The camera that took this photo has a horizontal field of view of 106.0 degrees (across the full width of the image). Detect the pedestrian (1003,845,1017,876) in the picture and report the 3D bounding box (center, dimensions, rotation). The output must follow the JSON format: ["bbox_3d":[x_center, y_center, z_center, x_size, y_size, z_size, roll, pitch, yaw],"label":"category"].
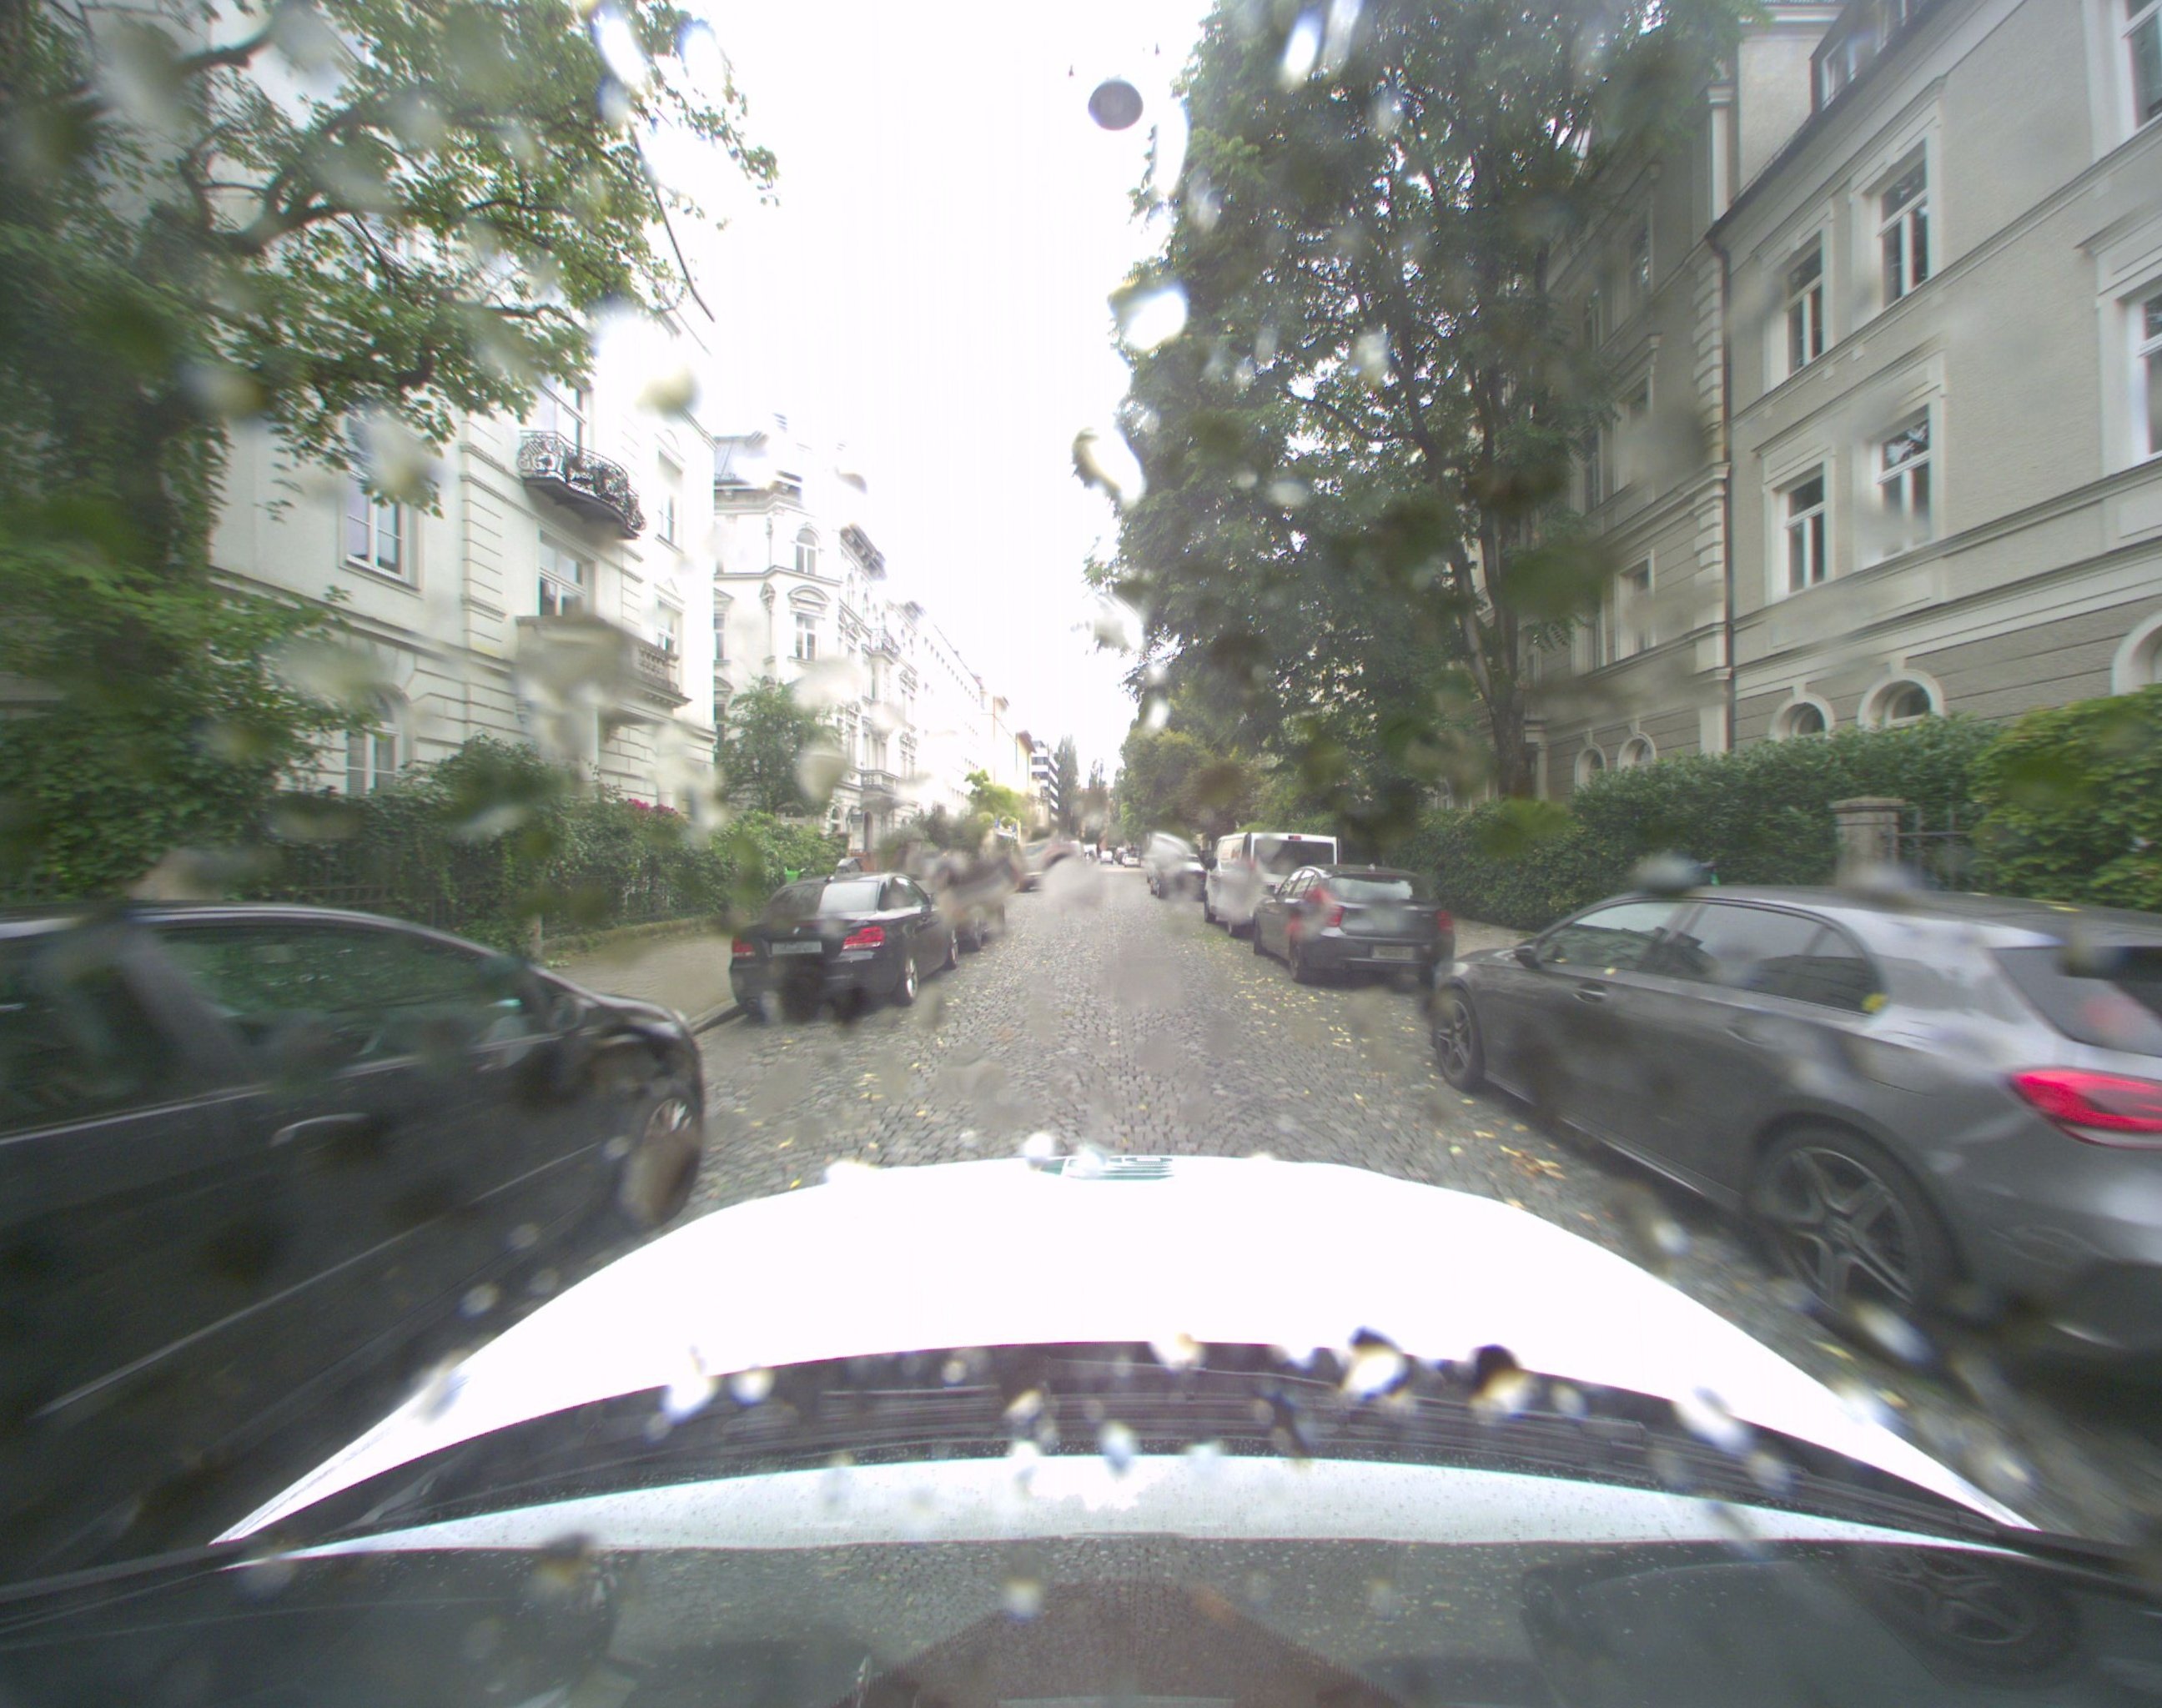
[{"bbox_3d":[-4.453,0.381,51.045,0.789,1.917,0.759,0,0,1],"label":"pedestrian"}]

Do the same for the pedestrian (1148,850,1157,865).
[{"bbox_3d":[9.437,0.452,107.660,0.857,2.013,0.986,-1,0,-16],"label":"pedestrian"}]

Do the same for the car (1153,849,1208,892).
[{"bbox_3d":[4.080,0.643,34.013,1.811,1.580,4.209,2,0,1],"label":"car"}]

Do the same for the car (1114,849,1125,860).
[{"bbox_3d":[7.329,0.163,154.253,1.986,2.013,4.002,0,0,2],"label":"car"}]

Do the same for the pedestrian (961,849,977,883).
[{"bbox_3d":[-5.663,0.613,41.229,0.690,1.687,0.720,-1,0,1],"label":"pedestrian"}]

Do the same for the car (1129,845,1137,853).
[{"bbox_3d":[13.882,-1.238,217.671,1.986,2.014,4.002,-1,0,2],"label":"car"}]

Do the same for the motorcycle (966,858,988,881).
[{"bbox_3d":[-5.697,0.851,44.750,0.619,1.196,1.870,0,0,11],"label":"motorcycle"}]

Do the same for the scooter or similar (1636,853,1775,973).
[{"bbox_3d":[7.042,0.622,9.242,0.414,1.234,1.242,-4,0,-10],"label":"scooter or similar"}]

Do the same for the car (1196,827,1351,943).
[{"bbox_3d":[3.662,0.526,16.541,1.867,1.928,5.163,2,0,0],"label":"car"}]

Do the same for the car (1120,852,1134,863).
[{"bbox_3d":[6.245,0.476,111.001,1.783,1.520,4.002,-1,0,2],"label":"car"}]

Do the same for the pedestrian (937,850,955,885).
[{"bbox_3d":[-6.587,0.650,39.725,0.715,1.687,0.695,-1,0,1],"label":"pedestrian"}]

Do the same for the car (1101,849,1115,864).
[{"bbox_3d":[3.865,0.357,116.463,1.986,2.013,4.002,-1,0,2],"label":"car"}]

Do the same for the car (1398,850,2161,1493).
[{"bbox_3d":[3.232,0.749,4.008,1.707,1.472,4.269,2,0,1],"label":"car"}]

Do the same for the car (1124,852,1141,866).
[{"bbox_3d":[5.641,0.534,90.311,1.783,1.520,4.002,-1,0,2],"label":"car"}]

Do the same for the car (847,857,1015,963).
[{"bbox_3d":[-2.442,0.855,14.488,1.879,1.417,4.410,-4,0,3],"label":"car"}]

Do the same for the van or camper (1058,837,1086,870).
[{"bbox_3d":[-0.734,-0.052,69.381,1.986,2.652,4.002,-4,0,2],"label":"van or camper"}]

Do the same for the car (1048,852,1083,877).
[{"bbox_3d":[-0.983,0.683,54.426,1.864,1.580,4.214,1,0,5],"label":"car"}]

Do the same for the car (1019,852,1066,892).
[{"bbox_3d":[-1.678,0.747,36.742,1.867,1.580,4.254,-4,0,0],"label":"car"}]

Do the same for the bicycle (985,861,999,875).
[{"bbox_3d":[-5.815,0.911,53.543,0.500,0.839,2.092,-1,0,5],"label":"bicycle"}]

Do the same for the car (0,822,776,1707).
[{"bbox_3d":[-2.556,0.699,2.550,1.657,1.444,4.169,-2,0,-1],"label":"car"}]

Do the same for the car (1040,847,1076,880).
[{"bbox_3d":[-1.357,0.522,49.249,1.867,1.776,4.123,-4,0,1],"label":"car"}]

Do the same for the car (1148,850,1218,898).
[{"bbox_3d":[3.500,0.641,28.692,1.867,1.503,4.510,2,0,0],"label":"car"}]

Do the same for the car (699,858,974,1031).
[{"bbox_3d":[-2.536,0.844,9.712,1.777,1.417,4.497,-4,0,1],"label":"car"}]

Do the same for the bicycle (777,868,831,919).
[{"bbox_3d":[-6.675,0.930,19.713,0.575,1.122,2.051,-1,0,1],"label":"bicycle"}]

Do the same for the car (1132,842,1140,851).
[{"bbox_3d":[13.038,-1.731,193.120,1.986,2.014,4.002,-1,0,2],"label":"car"}]

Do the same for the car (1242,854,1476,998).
[{"bbox_3d":[3.451,0.780,11.051,1.829,1.490,4.424,2,0,3],"label":"car"}]

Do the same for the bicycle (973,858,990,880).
[{"bbox_3d":[-5.740,0.839,46.918,0.657,1.221,2.077,-1,0,-17],"label":"bicycle"}]

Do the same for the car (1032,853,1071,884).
[{"bbox_3d":[-1.488,0.703,42.782,1.867,1.451,4.207,-3,0,0],"label":"car"}]

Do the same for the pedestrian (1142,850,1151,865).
[{"bbox_3d":[8.573,0.458,107.244,0.857,2.013,0.986,-1,0,-16],"label":"pedestrian"}]

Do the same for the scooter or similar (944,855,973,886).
[{"bbox_3d":[-5.877,0.778,39.227,0.937,1.441,2.657,-1,0,2],"label":"scooter or similar"}]

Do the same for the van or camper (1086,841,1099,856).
[{"bbox_3d":[2.181,-1.047,153.959,2.247,2.742,5.100,0,0,2],"label":"van or camper"}]

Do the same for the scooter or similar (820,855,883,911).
[{"bbox_3d":[-6.268,0.755,22.392,0.938,1.441,2.656,1,0,0],"label":"scooter or similar"}]

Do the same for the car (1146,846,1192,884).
[{"bbox_3d":[4.318,0.517,40.588,1.866,1.733,4.595,2,0,2],"label":"car"}]
